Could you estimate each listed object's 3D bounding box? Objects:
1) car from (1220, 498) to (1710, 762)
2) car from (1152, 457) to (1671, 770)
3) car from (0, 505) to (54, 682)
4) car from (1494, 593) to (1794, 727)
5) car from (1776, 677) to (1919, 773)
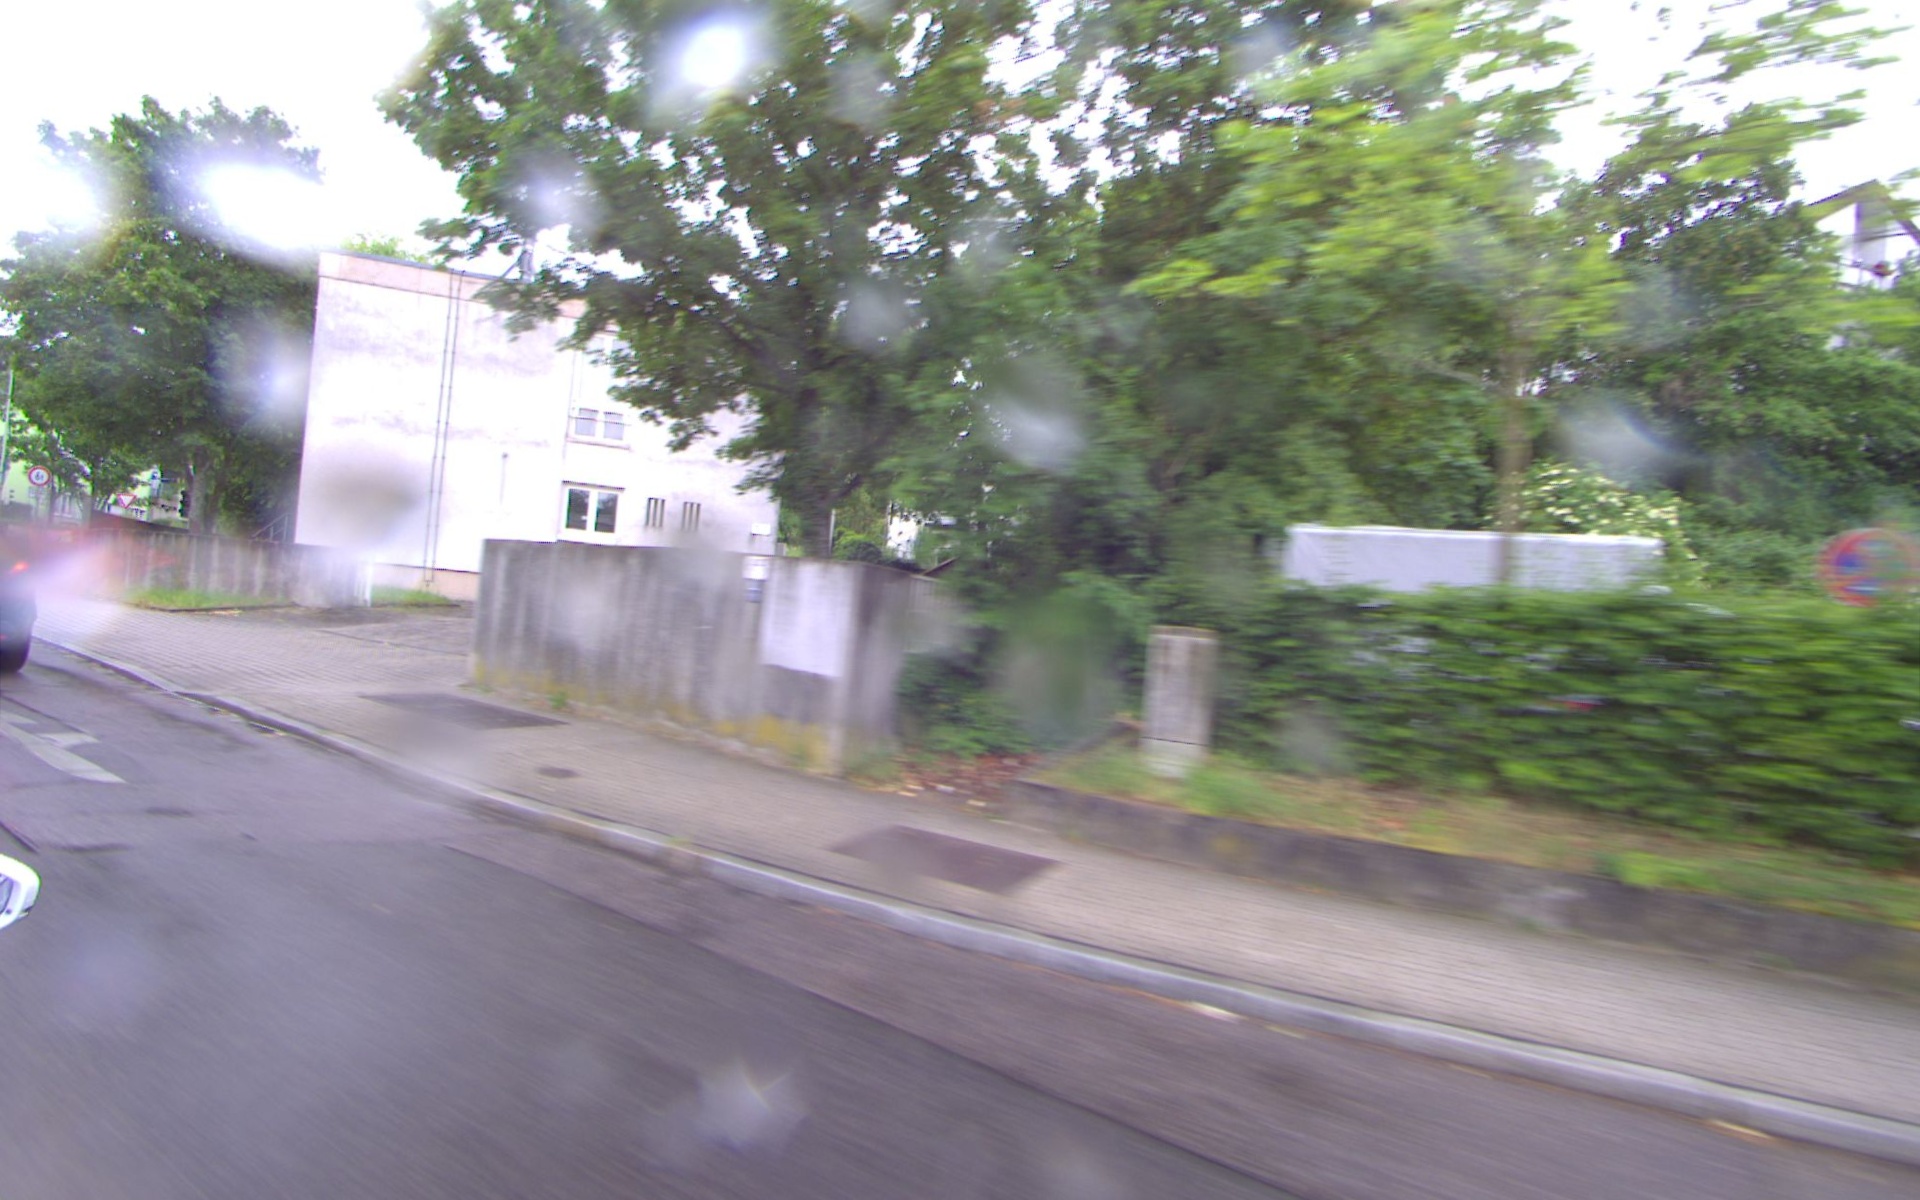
[{"bbox_3d":[6.081,0.335,12.828,4.925,2.310,2.053,10,-1,20],"label":"car"},{"bbox_3d":[4.317,0.093,10.169,4.058,2.252,2.001,10,0,23],"label":"car"},{"bbox_3d":[-10.971,-0.321,10.129,4.187,1.622,1.792,7,-2,36],"label":"car"},{"bbox_3d":[13.439,1.133,20.305,1.965,2.035,5.204,11,-2,-4],"label":"car"},{"bbox_3d":[19.901,2.703,21.081,1.773,1.683,4.180,11,-2,-4],"label":"car"}]
